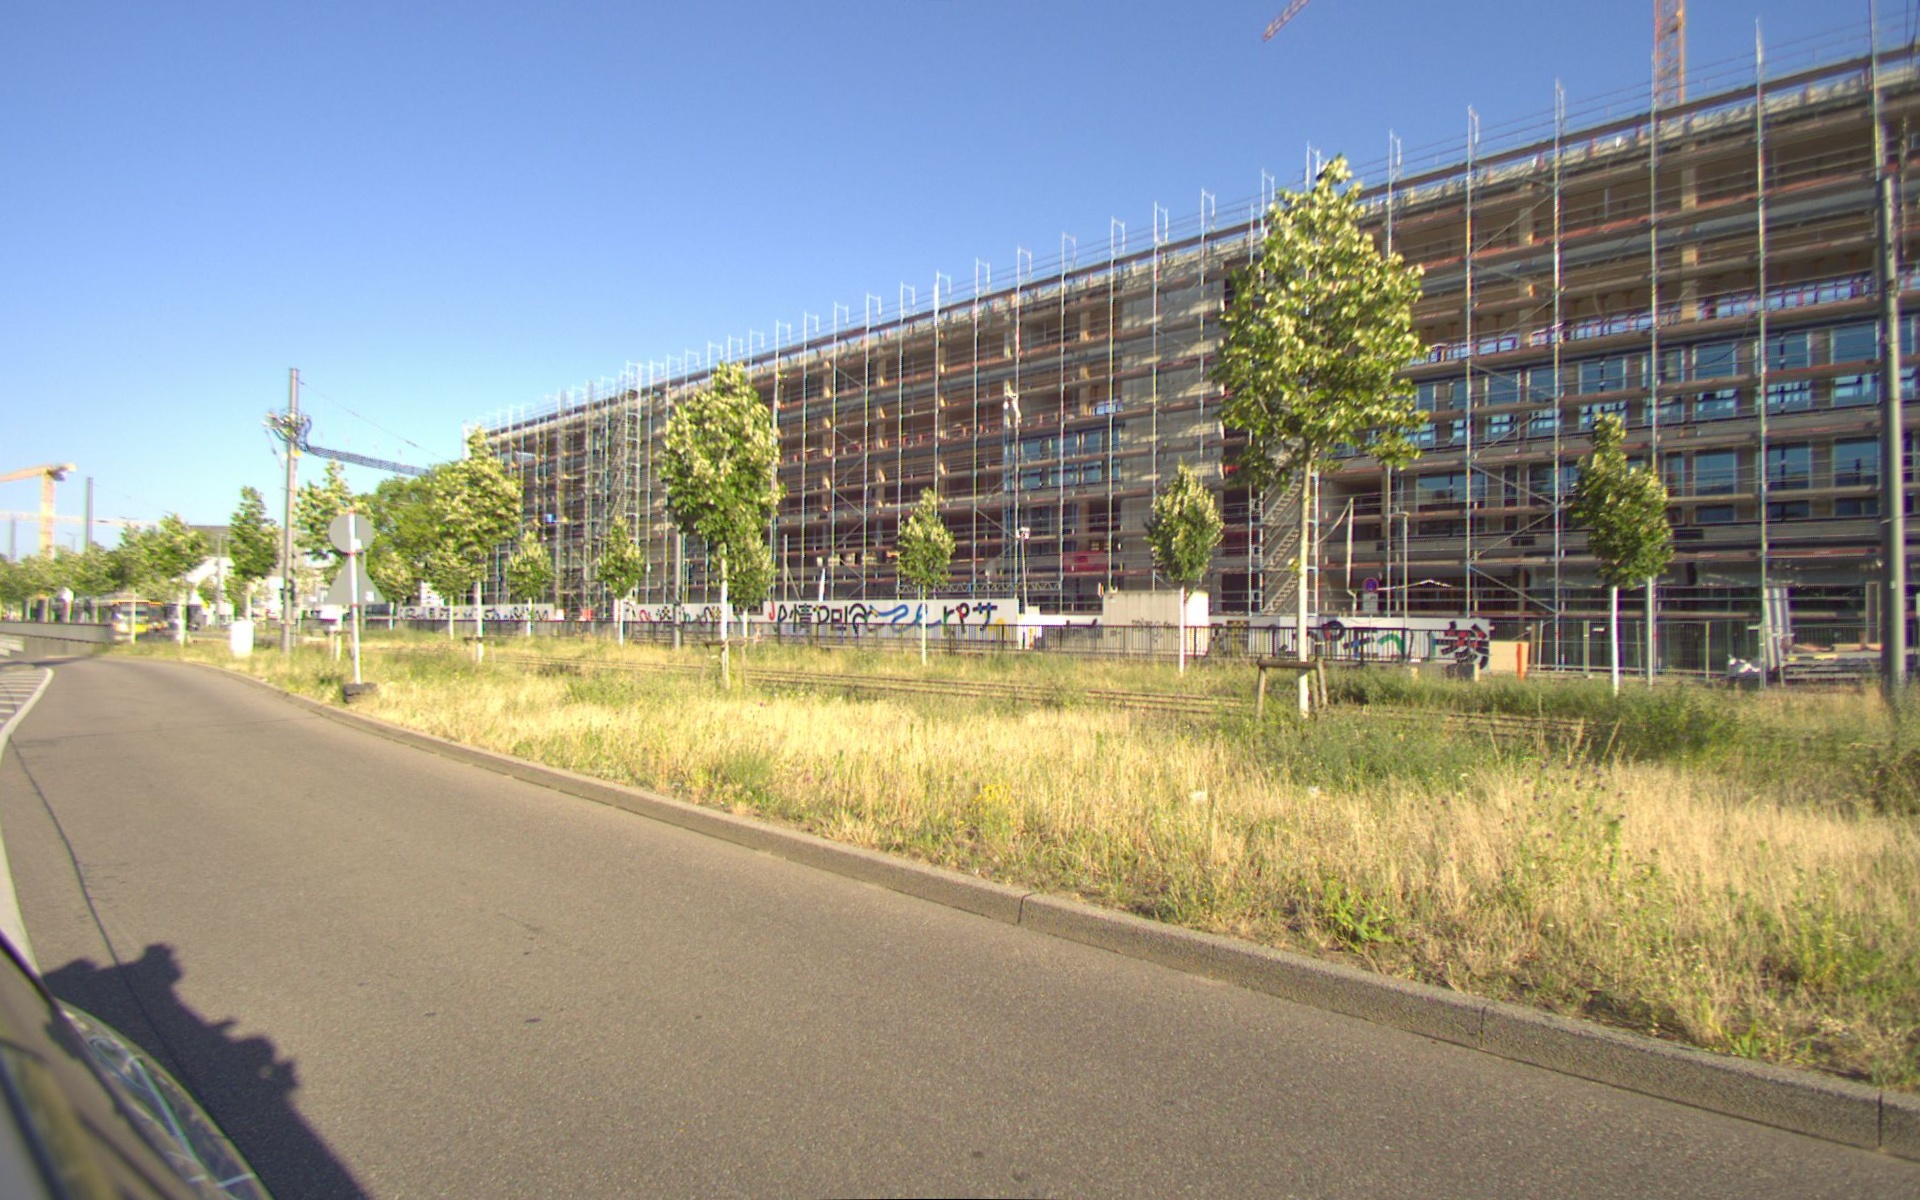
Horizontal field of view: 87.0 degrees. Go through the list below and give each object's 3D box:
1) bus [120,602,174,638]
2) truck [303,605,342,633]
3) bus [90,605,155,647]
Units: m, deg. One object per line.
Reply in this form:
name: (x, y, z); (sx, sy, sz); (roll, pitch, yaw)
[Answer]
bus: (-75.507, 1.857, 93.928); (8.656, 3.247, 2.687); (-1, -2, 43)
truck: (-61.895, 1.845, 98.220); (4.740, 2.593, 2.114); (-1, -2, 43)
bus: (-68.277, 2.109, 82.441); (8.652, 3.247, 2.688); (-1, -2, 42)
